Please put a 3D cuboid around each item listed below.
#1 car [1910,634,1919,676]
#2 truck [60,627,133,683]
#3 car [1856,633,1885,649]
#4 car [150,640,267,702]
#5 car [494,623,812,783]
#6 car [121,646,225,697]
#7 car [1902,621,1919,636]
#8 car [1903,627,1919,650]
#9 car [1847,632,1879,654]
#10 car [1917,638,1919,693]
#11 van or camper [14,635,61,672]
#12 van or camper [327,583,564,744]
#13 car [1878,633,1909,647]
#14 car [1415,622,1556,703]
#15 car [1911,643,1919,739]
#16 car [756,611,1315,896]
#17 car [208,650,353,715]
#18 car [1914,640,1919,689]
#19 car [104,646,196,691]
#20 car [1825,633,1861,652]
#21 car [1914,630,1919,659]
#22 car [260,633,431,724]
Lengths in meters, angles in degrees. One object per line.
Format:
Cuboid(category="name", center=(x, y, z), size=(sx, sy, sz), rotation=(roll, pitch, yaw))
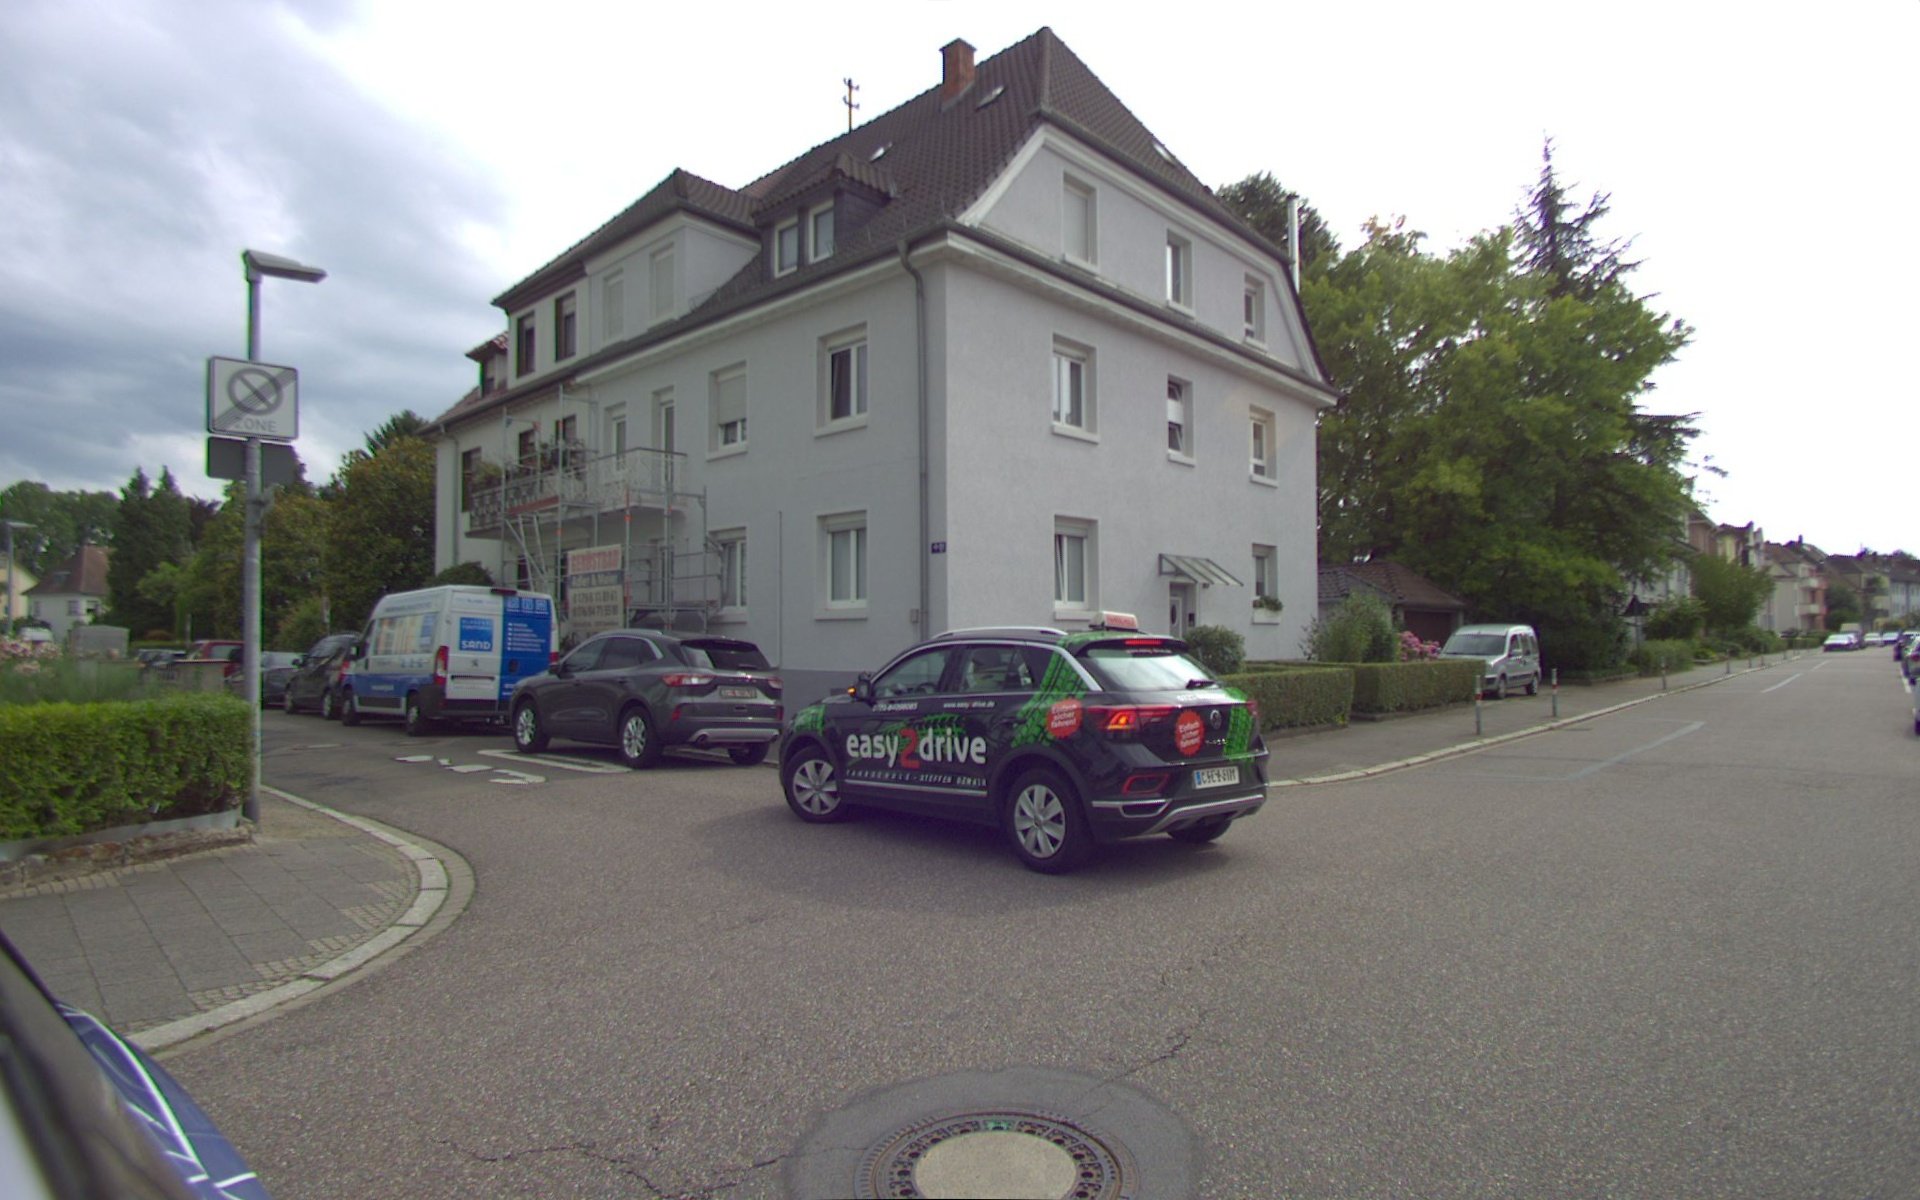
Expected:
Cuboid(category="car", center=(35.931, 1.981, 36.843), size=(1.860, 1.483, 4.114), rotation=(-2, -3, 44))
Cuboid(category="truck", center=(-42.983, 2.691, 50.350), size=(4.582, 2.678, 2.107), rotation=(-2, -3, 41))
Cuboid(category="car", center=(98.690, 4.419, 109.653), size=(3.939, 1.652, 2.002), rotation=(2, -3, -43))
Cuboid(category="car", center=(-23.089, 2.117, 31.056), size=(4.339, 1.763, 1.973), rotation=(-2, -3, 41))
Cuboid(category="car", center=(-4.103, 1.209, 13.206), size=(4.339, 1.740, 1.973), rotation=(-2, -3, 41))
Cuboid(category="car", center=(-26.830, 2.384, 34.458), size=(4.339, 1.603, 1.973), rotation=(-2, -3, 41))
Cuboid(category="car", center=(139.261, 4.220, 147.922), size=(3.939, 2.140, 2.002), rotation=(2, -3, -43))
Cuboid(category="car", center=(68.027, 2.699, 71.609), size=(1.860, 1.590, 4.115), rotation=(-2, -3, 43))
Cuboid(category="car", center=(86.989, 4.130, 97.477), size=(3.941, 2.029, 2.001), rotation=(2, -3, -45))
Cuboid(category="car", center=(28.654, 1.839, 28.868), size=(1.860, 1.483, 4.114), rotation=(-2, -3, 44))
Cuboid(category="van or camper", center=(-66.473, 3.822, 72.892), size=(5.015, 2.561, 2.118), rotation=(-2, -3, 43))
Cuboid(category="van or camper", center=(-9.333, 1.077, 18.164), size=(5.054, 2.478, 2.168), rotation=(-2, -3, 43))
Cuboid(category="car", center=(109.251, 4.704, 118.460), size=(3.935, 1.548, 2.004), rotation=(1, -4, -38))
Cuboid(category="car", center=(13.087, 1.487, 25.126), size=(2.001, 1.852, 3.941), rotation=(-3, -3, 45))
Cuboid(category="car", center=(17.273, 1.487, 16.946), size=(1.860, 1.483, 4.114), rotation=(-2, -3, 44))
Cuboid(category="car", center=(0.306, 0.958, 7.579), size=(1.794, 1.532, 4.047), rotation=(3, -5, -42))
Cuboid(category="car", center=(-17.290, 2.015, 25.675), size=(4.339, 1.466, 1.973), rotation=(-2, -3, 41))
Cuboid(category="car", center=(32.197, 2.059, 32.713), size=(1.860, 1.483, 4.114), rotation=(-2, -3, 44))
Cuboid(category="car", center=(-30.944, 2.554, 38.621), size=(4.339, 1.603, 1.973), rotation=(-2, -3, 41))
Cuboid(category="car", center=(78.242, 3.739, 89.633), size=(3.939, 1.652, 2.002), rotation=(2, -3, -43))
Cuboid(category="car", center=(55.398, 2.492, 57.317), size=(1.860, 1.590, 4.114), rotation=(-2, -3, 44))
Cuboid(category="car", center=(-13.571, 1.643, 22.258), size=(4.339, 1.785, 1.973), rotation=(-2, -3, 41))
